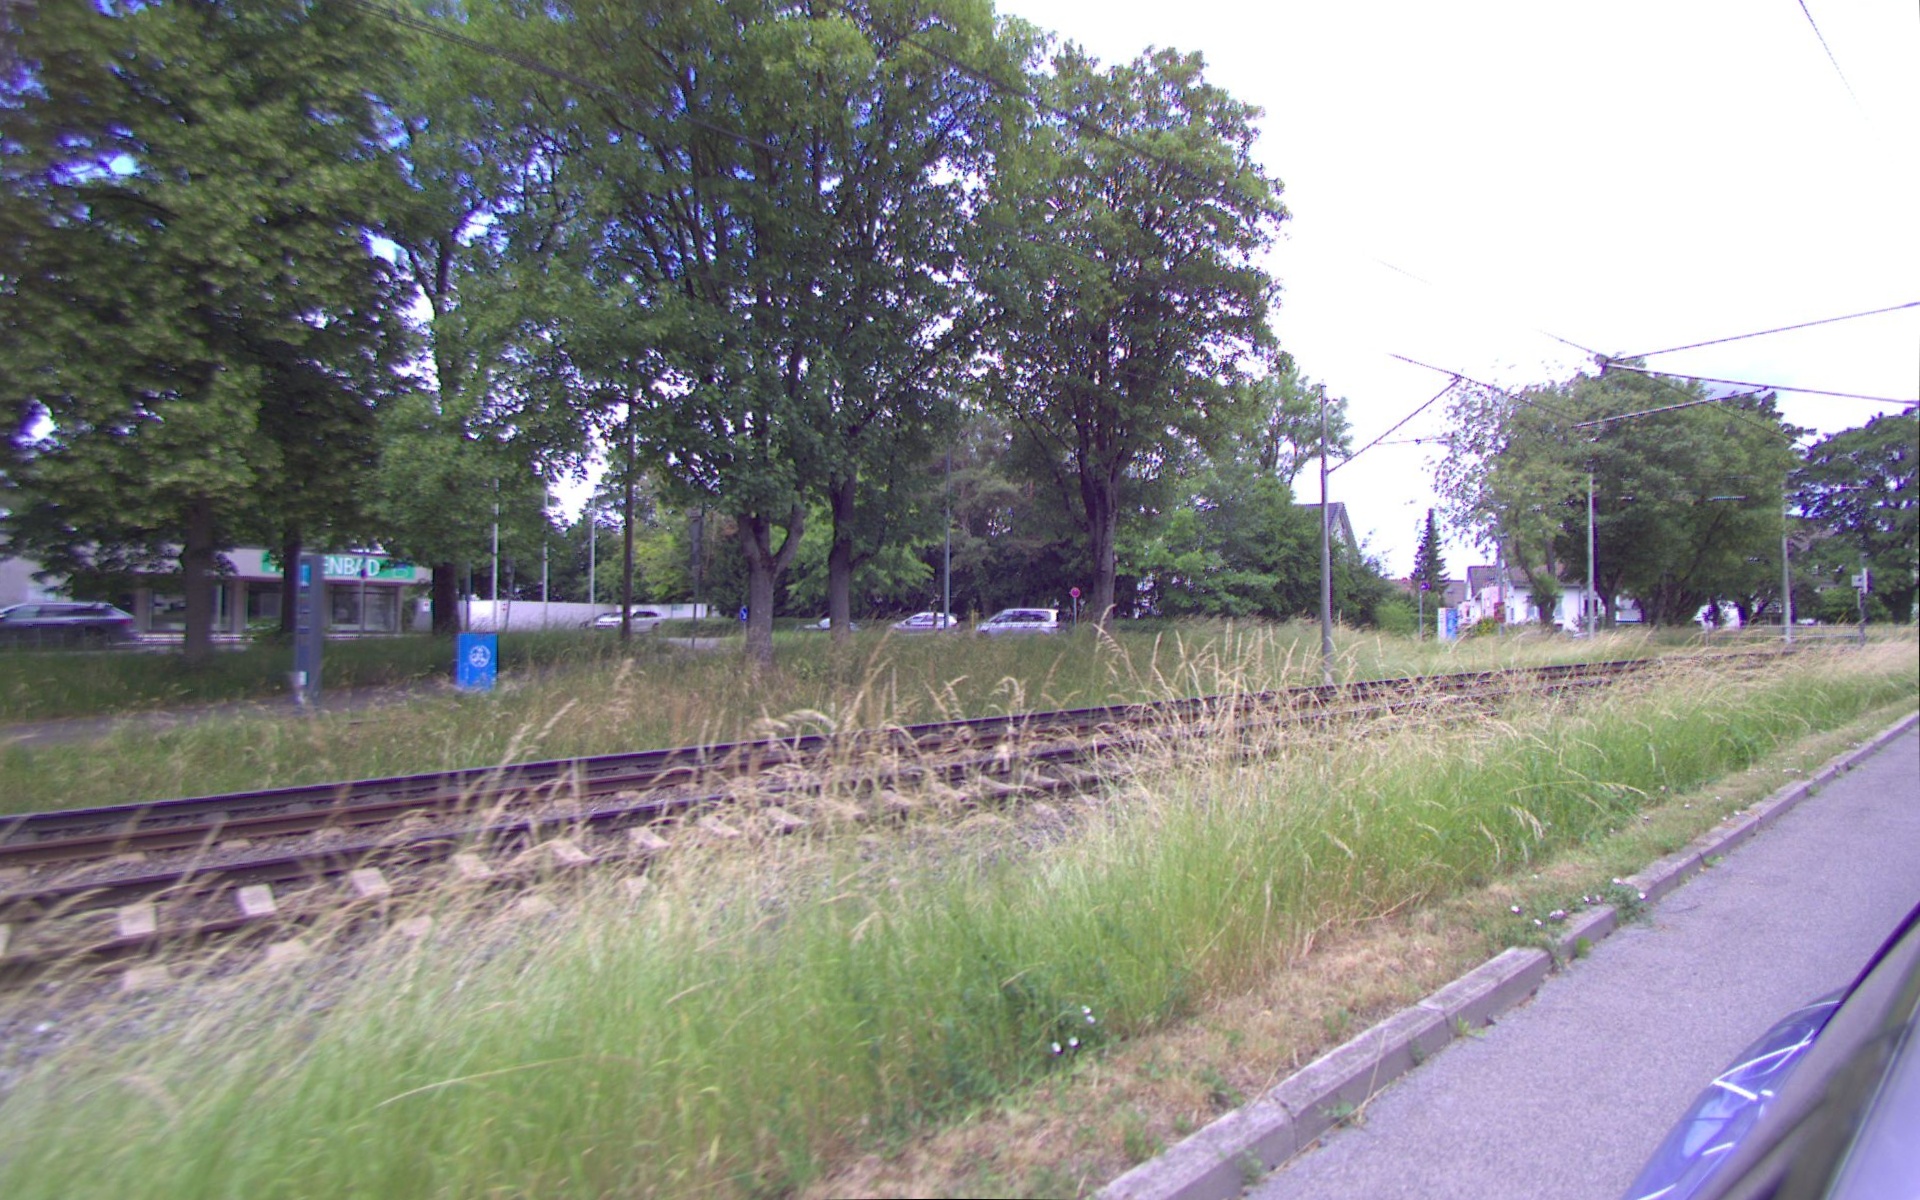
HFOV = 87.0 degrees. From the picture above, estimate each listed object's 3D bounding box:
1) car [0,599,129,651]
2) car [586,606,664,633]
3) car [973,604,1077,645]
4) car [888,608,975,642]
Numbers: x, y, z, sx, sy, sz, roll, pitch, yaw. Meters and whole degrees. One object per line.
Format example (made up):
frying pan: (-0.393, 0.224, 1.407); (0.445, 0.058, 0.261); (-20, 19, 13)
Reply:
car: (-27.296, 0.735, 29.842); (4.270, 1.461, 1.997); (0, -1, -41)
car: (-20.822, 1.168, 63.148); (1.964, 1.601, 4.412); (-1, -1, 32)
car: (3.149, 1.162, 49.079); (4.666, 1.885, 1.900); (0, -1, 26)
car: (-1.469, 1.266, 51.633); (4.154, 1.700, 1.755); (0, -1, 26)
